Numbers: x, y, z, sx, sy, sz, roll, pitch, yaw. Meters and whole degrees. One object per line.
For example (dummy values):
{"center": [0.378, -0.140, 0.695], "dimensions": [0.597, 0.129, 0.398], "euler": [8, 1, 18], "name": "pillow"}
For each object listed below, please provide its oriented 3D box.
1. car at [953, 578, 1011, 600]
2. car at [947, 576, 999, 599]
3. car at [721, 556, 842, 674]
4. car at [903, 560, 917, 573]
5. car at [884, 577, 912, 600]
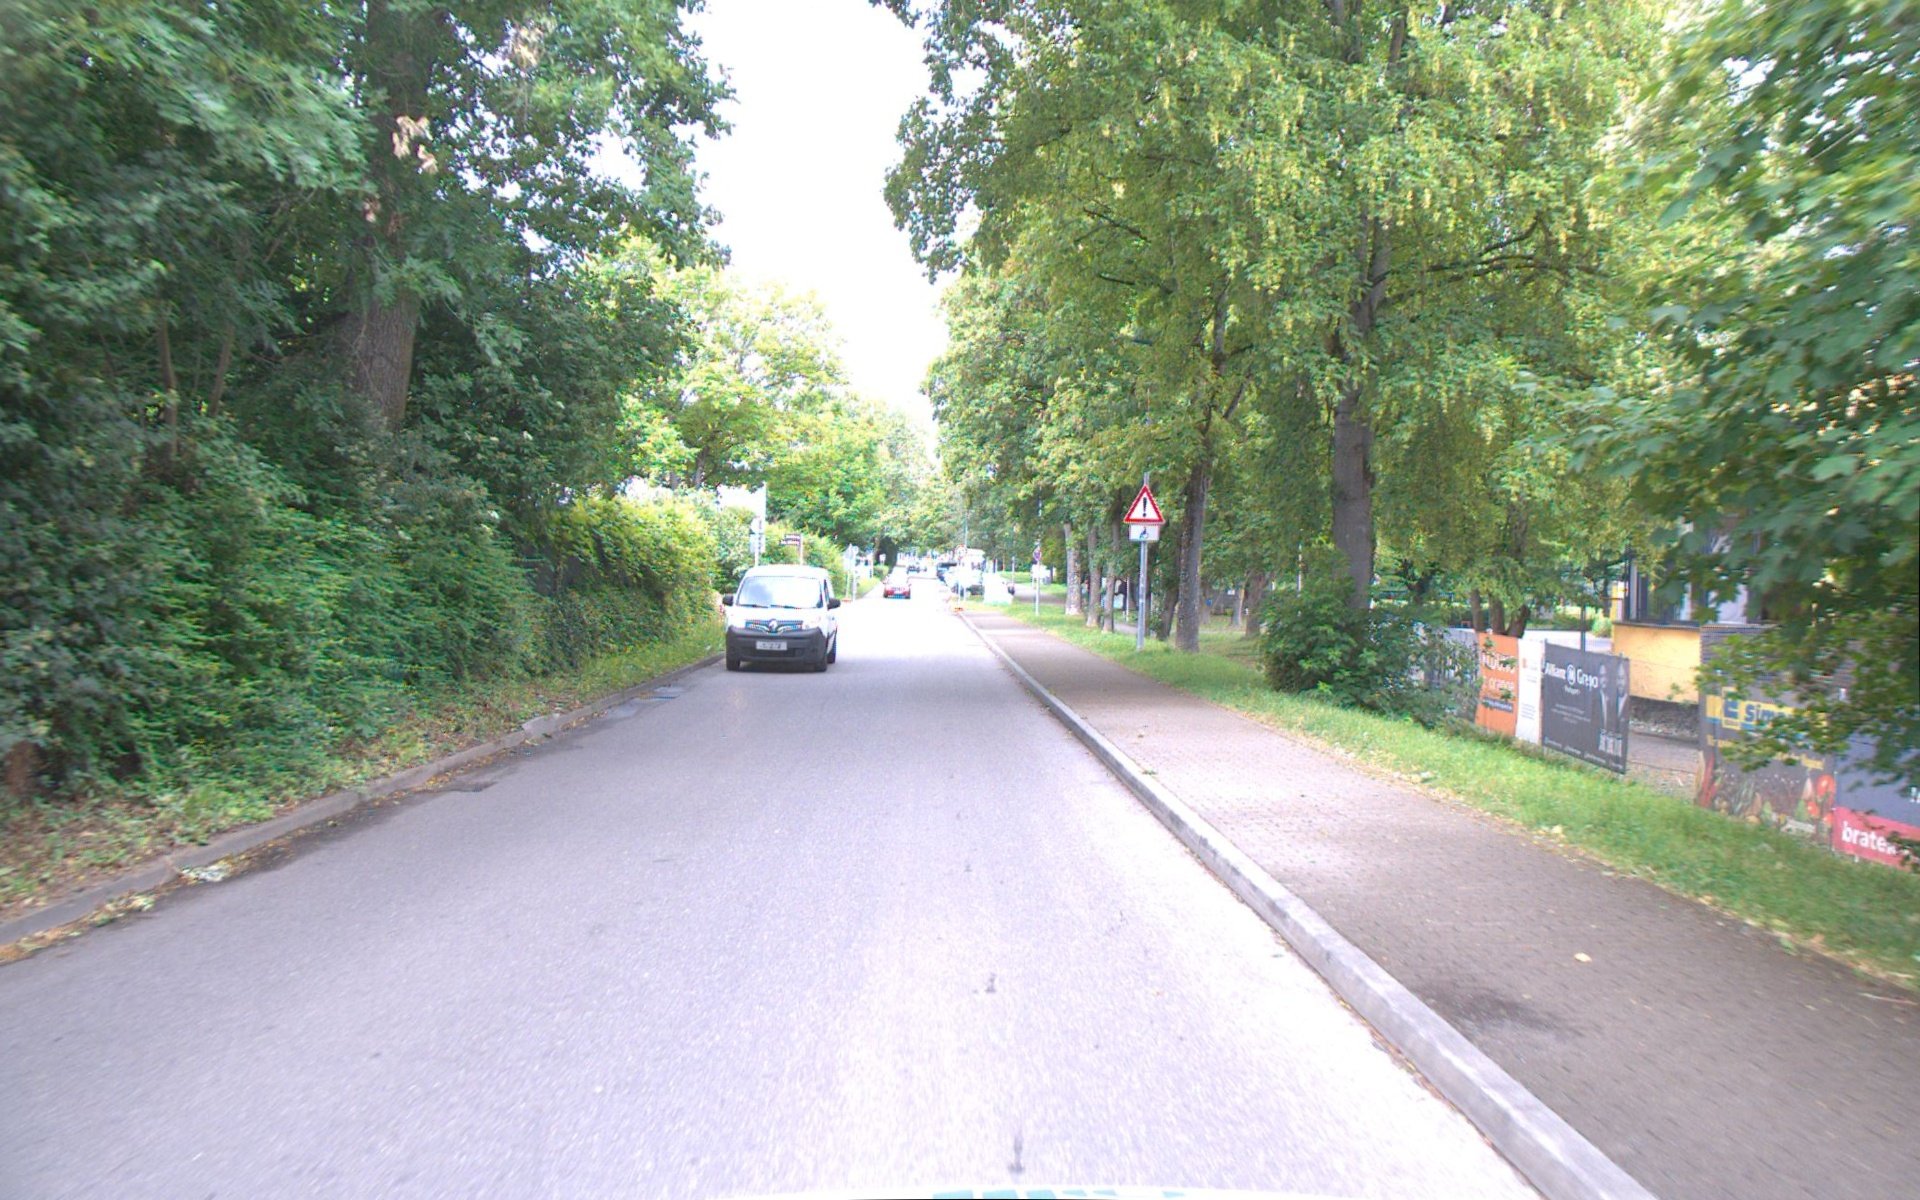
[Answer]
{"center": [1.519, -0.727, 114.770], "dimensions": [3.981, 1.459, 1.999], "euler": [0, -1, -2], "name": "car"}
{"center": [1.015, -1.001, 132.484], "dimensions": [3.984, 1.717, 1.821], "euler": [-2, 1, -5], "name": "car"}
{"center": [-3.114, 0.254, 29.628], "dimensions": [1.835, 1.947, 4.429], "euler": [0, 0, -2], "name": "car"}
{"center": [-7.226, -4.866, 238.671], "dimensions": [1.929, 1.778, 4.337], "euler": [2, 1, -2], "name": "car"}
{"center": [-4.060, -0.771, 108.275], "dimensions": [1.715, 1.359, 4.064], "euler": [2, 1, -2], "name": "car"}
